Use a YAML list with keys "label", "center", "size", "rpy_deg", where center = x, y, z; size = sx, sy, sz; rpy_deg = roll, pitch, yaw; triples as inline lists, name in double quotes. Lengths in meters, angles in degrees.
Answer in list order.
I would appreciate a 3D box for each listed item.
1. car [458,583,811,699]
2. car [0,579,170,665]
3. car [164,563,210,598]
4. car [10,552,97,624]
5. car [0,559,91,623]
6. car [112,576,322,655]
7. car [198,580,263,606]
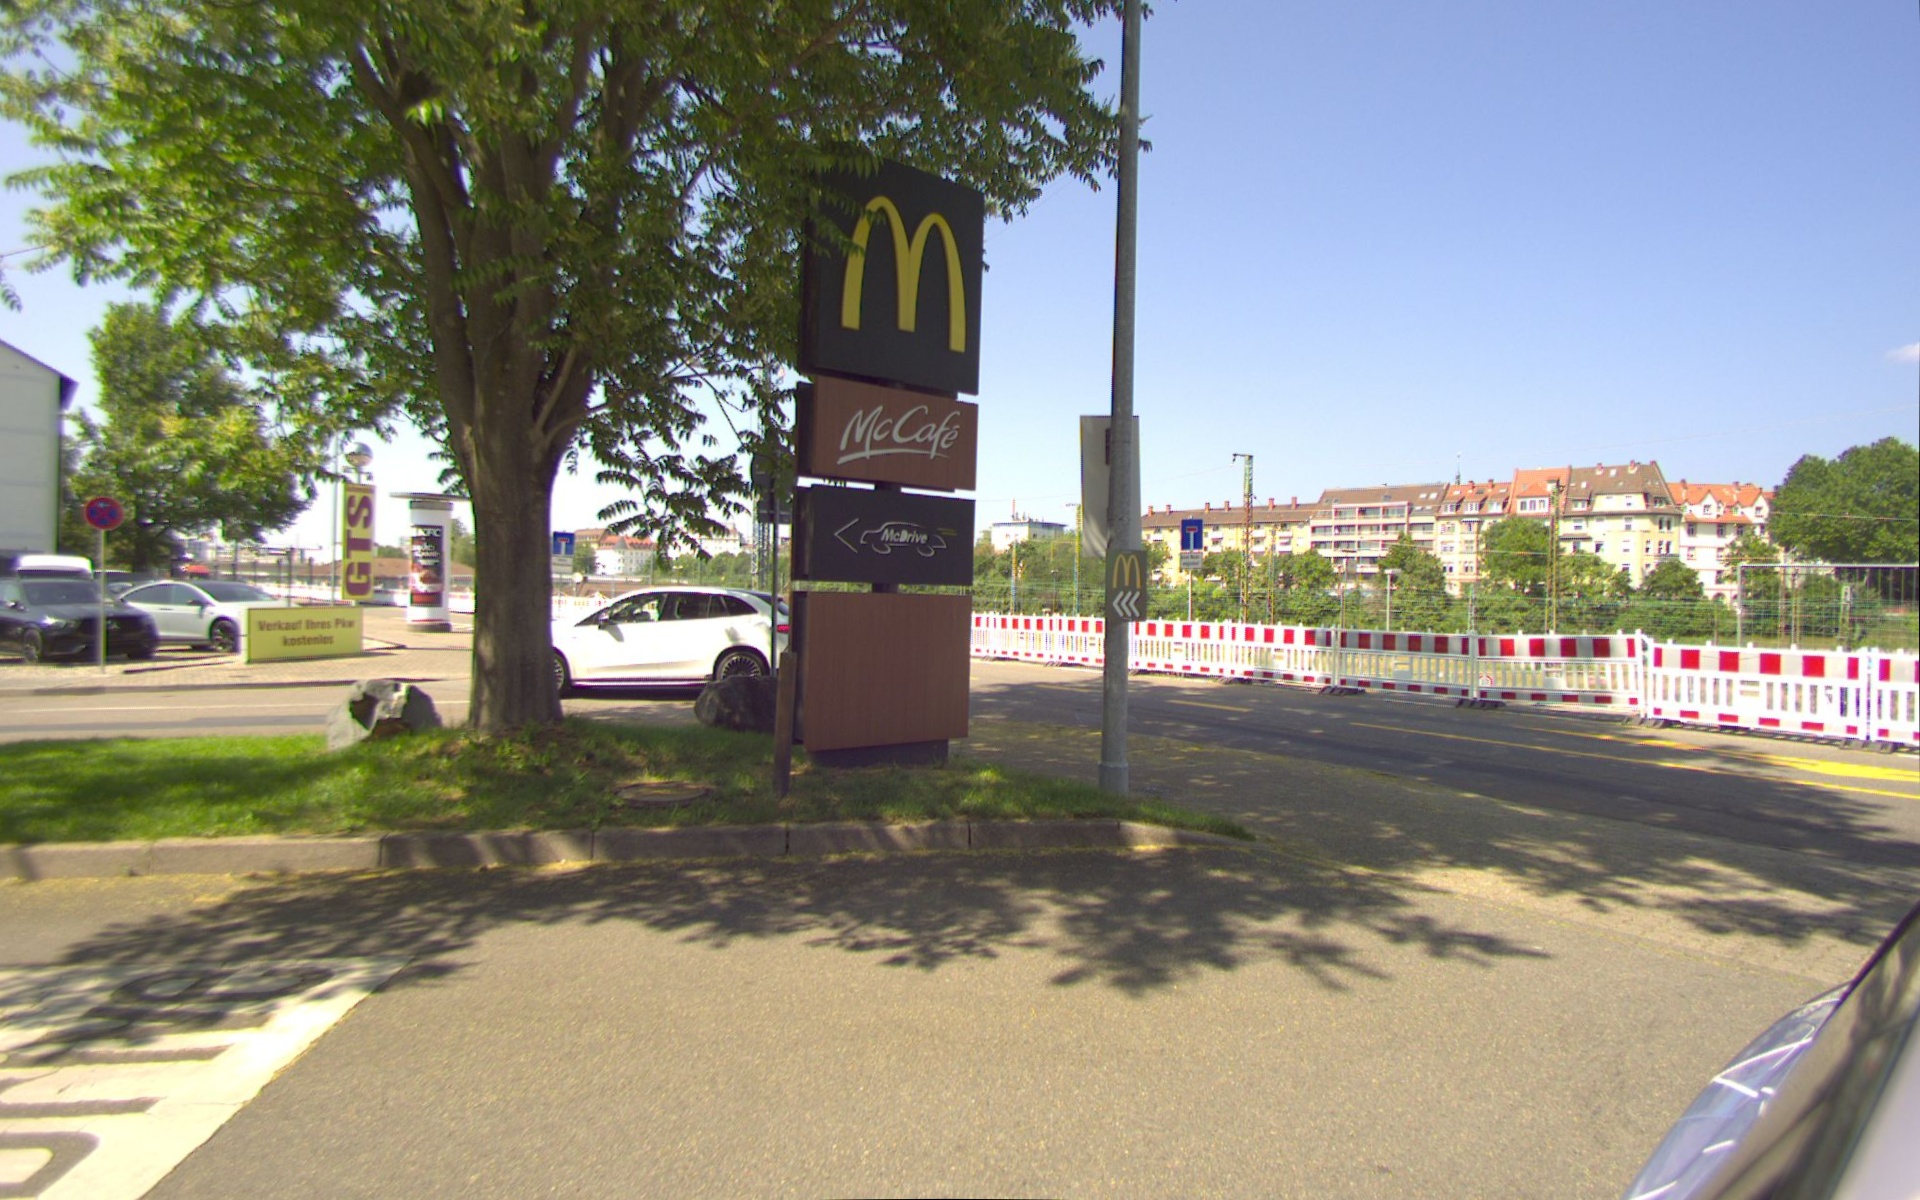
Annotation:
- label: "car"
  center: [-4.951, 0.601, 15.948]
  size: [4.934, 1.665, 2.001]
  rpy_deg: [1, 0, -2]
- label: "car"
  center: [-18.647, 0.413, 20.860]
  size: [4.379, 1.615, 2.034]
  rpy_deg: [0, -1, 27]
- label: "car"
  center: [-59.170, -1.442, 77.436]
  size: [2.501, 2.552, 5.110]
  rpy_deg: [2, -1, -41]
- label: "car"
  center: [-31.276, -0.412, 34.942]
  size: [2.106, 2.313, 4.701]
  rpy_deg: [1, 0, -42]
- label: "car"
  center: [-27.381, -0.250, 30.332]
  size: [1.849, 1.760, 4.716]
  rpy_deg: [2, -1, -40]
- label: "car"
  center: [-17.553, 0.355, 23.978]
  size: [3.942, 1.748, 1.990]
  rpy_deg: [1, -1, 15]
- label: "car"
  center: [-48.904, -0.425, 67.902]
  size: [1.697, 1.658, 3.273]
  rpy_deg: [1, -1, 8]
